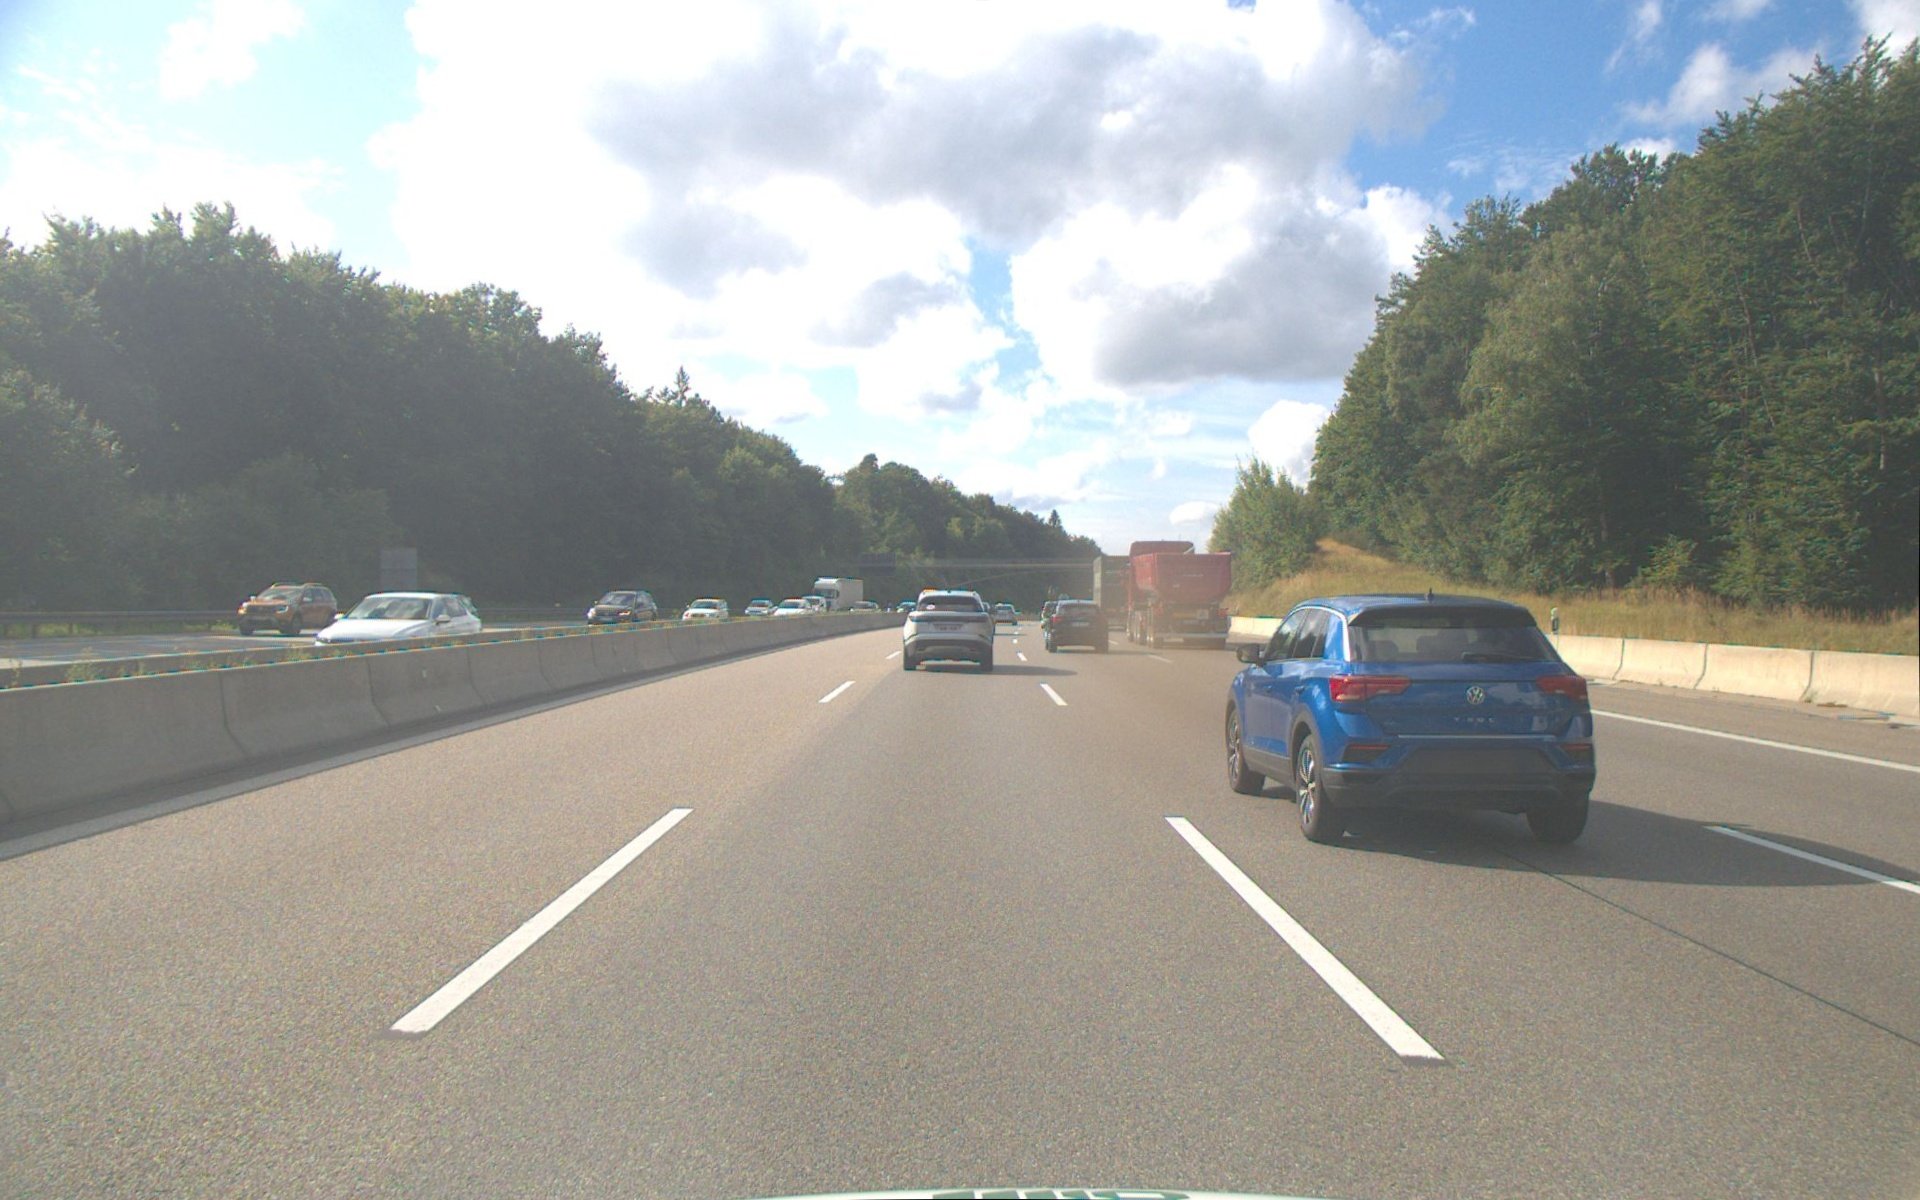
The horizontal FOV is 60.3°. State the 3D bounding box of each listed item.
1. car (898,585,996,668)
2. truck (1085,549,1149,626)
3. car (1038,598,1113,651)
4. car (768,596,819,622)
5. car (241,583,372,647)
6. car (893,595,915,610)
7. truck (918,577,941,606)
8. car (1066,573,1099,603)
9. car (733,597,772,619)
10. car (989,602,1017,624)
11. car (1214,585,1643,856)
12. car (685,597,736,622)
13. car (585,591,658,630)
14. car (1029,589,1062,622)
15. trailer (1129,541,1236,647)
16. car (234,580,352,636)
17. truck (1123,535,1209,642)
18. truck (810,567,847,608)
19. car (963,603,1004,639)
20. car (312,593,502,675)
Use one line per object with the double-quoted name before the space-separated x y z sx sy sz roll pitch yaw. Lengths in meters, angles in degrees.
"car" -0.279 0.531 36.200 1.965 1.644 5.300 1 0 0
"truck" 8.711 -0.672 92.838 3.053 4.003 10.414 1 0 3
"car" 3.421 0.702 49.499 1.786 1.483 3.998 1 0 -3
"car" -8.803 0.454 87.734 1.952 1.331 4.834 1 0 3
"car" -18.758 0.405 47.687 1.888 1.746 4.424 1 0 2
"car" -5.588 0.249 165.523 1.808 1.524 4.131 1 0 4
"truck" -4.079 -1.124 222.125 2.719 3.876 7.136 0 0 2
"car" 7.804 -0.750 105.715 1.855 1.889 4.100 1 0 1
"car" -14.908 0.533 119.125 2.028 1.498 4.672 1 0 2
"car" 3.053 0.939 117.680 1.784 1.483 4.002 1 0 4
"car" 3.056 0.692 11.793 1.737 1.557 4.457 1 0 -1
"car" -12.477 0.448 82.832 1.612 1.221 4.442 1 0 3
"car" -13.784 0.399 67.649 1.685 1.505 4.633 1 0 4
"car" 5.028 0.326 97.867 1.854 1.889 4.101 1 0 1
"trailer" 7.468 -0.189 56.720 2.654 3.288 9.735 1 0 2
"car" -21.979 0.255 54.694 1.888 1.746 4.425 1 0 3
"truck" 7.616 -0.418 61.757 2.654 3.784 5.819 1 0 2
"truck" -13.444 -1.275 169.588 2.649 4.139 6.602 1 0 5
"car" 1.118 0.944 75.487 1.784 1.573 4.001 1 0 1
"car" -9.810 0.561 29.763 1.687 1.333 4.882 1 0 1
